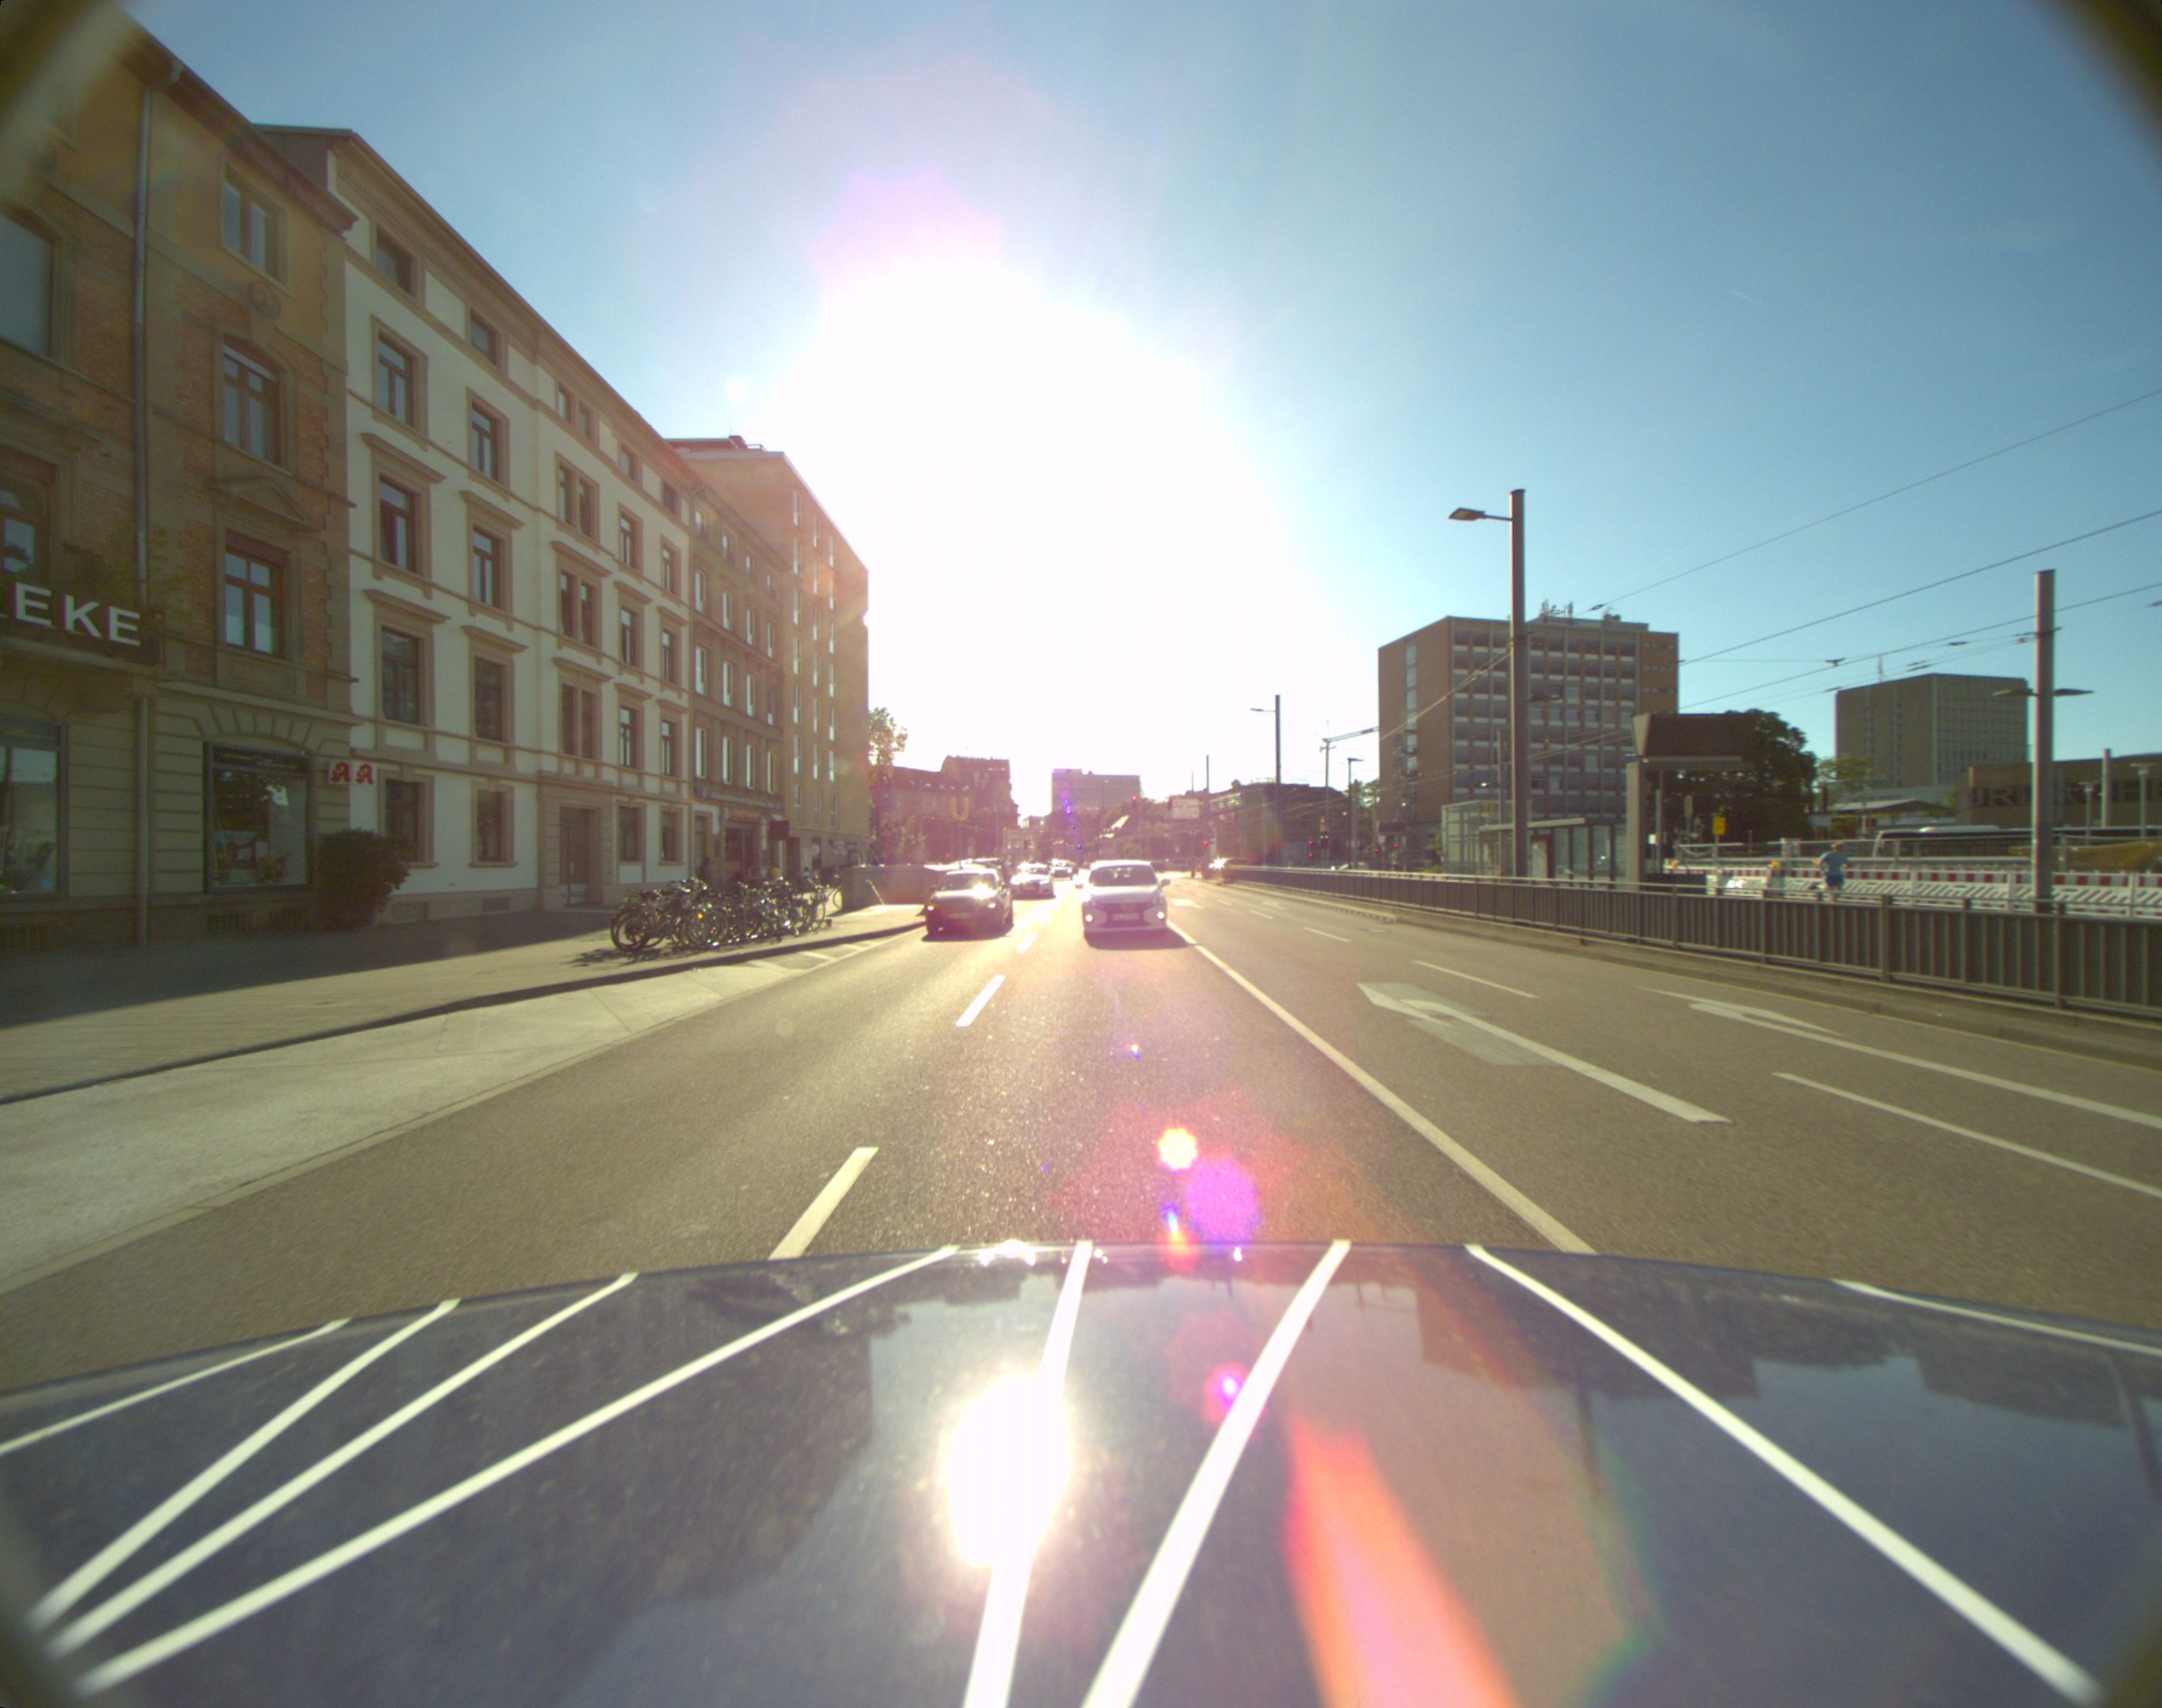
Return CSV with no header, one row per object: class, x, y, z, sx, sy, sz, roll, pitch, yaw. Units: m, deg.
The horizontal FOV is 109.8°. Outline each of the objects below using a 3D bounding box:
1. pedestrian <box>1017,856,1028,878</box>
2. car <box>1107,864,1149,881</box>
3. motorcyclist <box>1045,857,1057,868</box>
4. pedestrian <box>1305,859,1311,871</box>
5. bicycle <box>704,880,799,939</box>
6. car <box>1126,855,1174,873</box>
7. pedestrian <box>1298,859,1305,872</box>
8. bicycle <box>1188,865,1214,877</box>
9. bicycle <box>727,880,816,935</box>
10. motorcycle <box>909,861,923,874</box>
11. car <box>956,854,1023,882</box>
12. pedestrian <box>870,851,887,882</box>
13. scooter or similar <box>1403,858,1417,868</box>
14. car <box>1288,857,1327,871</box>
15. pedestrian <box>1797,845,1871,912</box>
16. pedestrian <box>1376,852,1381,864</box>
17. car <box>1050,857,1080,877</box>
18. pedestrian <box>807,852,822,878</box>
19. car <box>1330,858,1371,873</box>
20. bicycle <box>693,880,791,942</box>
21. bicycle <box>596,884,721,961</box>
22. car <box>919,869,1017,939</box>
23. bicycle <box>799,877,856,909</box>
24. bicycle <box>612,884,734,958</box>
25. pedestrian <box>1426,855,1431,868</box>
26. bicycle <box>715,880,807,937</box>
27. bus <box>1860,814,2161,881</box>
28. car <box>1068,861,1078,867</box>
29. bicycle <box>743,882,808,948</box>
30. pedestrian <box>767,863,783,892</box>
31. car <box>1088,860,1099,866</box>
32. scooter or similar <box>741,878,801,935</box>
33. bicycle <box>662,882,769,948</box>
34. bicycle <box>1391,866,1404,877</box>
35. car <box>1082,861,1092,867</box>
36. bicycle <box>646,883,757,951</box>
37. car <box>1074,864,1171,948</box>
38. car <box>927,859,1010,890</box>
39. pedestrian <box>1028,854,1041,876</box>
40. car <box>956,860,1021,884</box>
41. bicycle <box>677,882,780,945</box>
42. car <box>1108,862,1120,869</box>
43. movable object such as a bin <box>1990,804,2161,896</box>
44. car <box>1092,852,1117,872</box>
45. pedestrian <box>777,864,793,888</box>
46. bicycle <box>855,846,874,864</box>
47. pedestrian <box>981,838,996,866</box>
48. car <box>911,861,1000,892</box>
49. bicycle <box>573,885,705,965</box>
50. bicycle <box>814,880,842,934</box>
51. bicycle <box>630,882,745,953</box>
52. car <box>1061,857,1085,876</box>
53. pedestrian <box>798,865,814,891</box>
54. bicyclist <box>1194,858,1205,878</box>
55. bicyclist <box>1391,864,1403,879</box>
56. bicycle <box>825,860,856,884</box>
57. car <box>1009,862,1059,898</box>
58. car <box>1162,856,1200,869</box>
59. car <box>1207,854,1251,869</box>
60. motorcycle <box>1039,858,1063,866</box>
pedestrian,-4.565,1.003,59.181,0.698,1.717,0.752,0,0,-15
car,4.930,1.891,78.837,1.994,1.666,4.292,0,0,44
motorcyclist,-4.361,1.238,111.373,1.451,1.656,1.120,0,-3,22
pedestrian,31.675,1.534,106.186,0.732,1.729,0.622,0,2,12
bicycle,-6.871,1.152,15.877,1.769,1.180,0.470,-1,-1,1
car,8.522,1.271,94.377,5.763,2.001,2.000,1,-3,-2
pedestrian,30.790,1.569,106.038,0.620,1.729,0.667,1,2,43
bicycle,9.510,1.361,60.321,1.894,0.936,0.815,1,0,-4
bicycle,-6.864,1.180,16.878,1.769,1.171,0.470,-1,-1,1
motorcycle,-14.404,1.176,66.390,0.880,1.040,1.803,1,1,-1
car,-6.350,0.976,52.972,4.259,1.803,1.955,-1,0,-40
pedestrian,-12.286,0.741,46.082,0.754,1.855,0.830,0,0,-29
scooter or similar,45.390,1.279,104.850,0.801,1.239,1.705,2,-3,-27
car,29.350,1.336,98.435,4.697,1.673,2.004,0,-3,18
pedestrian,20.450,0.681,20.671,0.804,1.757,1.180,1,-2,1
pedestrian,38.747,0.508,98.869,0.503,1.625,0.428,0,-2,8
car,-1.185,0.950,58.648,1.782,1.455,3.917,0,0,7
pedestrian,-13.485,0.569,38.457,0.516,1.311,0.592,0,0,8
car,33.185,1.427,93.780,4.697,1.673,2.003,0,-3,16
bicycle,-6.842,1.143,15.376,1.769,1.180,0.470,-1,-1,1
bicycle,-6.847,1.102,12.347,1.769,1.180,0.470,-1,-1,1
car,-2.586,1.116,18.220,1.694,1.380,3.832,-2,0,1
bicycle,-8.674,1.346,26.040,1.773,1.083,0.469,2,-2,-28
bicycle,-6.876,1.123,12.850,1.796,1.180,0.470,-1,-1,1
pedestrian,47.074,0.991,102.946,0.623,1.700,0.487,-1,-3,35
bicycle,-6.875,1.156,16.376,1.769,1.171,0.470,-1,-1,1
bus,50.850,-0.192,40.687,12.626,3.173,2.849,-2,-4,44
car,-2.235,2.674,209.205,1.757,1.455,4.016,-1,-2,-12
bicycle,-5.762,1.123,14.407,0.470,1.140,1.771,-1,-1,1
pedestrian,-14.061,1.069,34.948,0.516,1.311,0.591,-1,0,-6
car,2.933,2.193,184.486,1.757,1.455,4.016,-1,-2,-12
scooter or similar,-7.202,1.194,17.653,1.210,1.209,0.641,-2,1,-26
bicycle,-6.890,1.143,14.350,1.769,1.180,0.470,-1,-1,1
bicycle,27.793,1.533,66.801,0.814,0.936,2.004,-1,1,16
car,1.561,2.445,190.204,1.757,1.455,4.016,-1,-2,-12
bicycle,-6.897,1.131,13.847,1.769,1.180,0.470,-1,-1,1
car,0.874,1.014,15.851,1.720,1.483,3.873,-2,-2,3
car,-6.320,1.131,42.912,4.260,1.561,1.955,-1,0,-43
pedestrian,-3.830,0.902,62.437,0.796,1.717,0.868,0,0,-31
car,-6.027,1.183,49.923,3.900,1.391,1.784,-3,1,-43
bicycle,-6.887,1.152,14.870,1.769,1.180,0.470,-1,-1,1
car,7.178,2.480,165.931,1.757,1.455,4.016,-1,-2,-12
movable object such as a bin,30.753,-0.055,21.903,2.637,2.509,5.164,1,-3,-17
car,2.063,0.715,65.998,1.998,1.666,4.285,0,0,5
pedestrian,-14.699,1.081,37.741,0.516,1.153,0.592,0,0,8
bicycle,-14.634,0.065,51.340,0.659,1.241,2.298,1,0,-1
pedestrian,-6.227,-0.123,51.050,0.755,1.855,0.696,0,0,-41
car,-6.451,1.132,39.250,4.121,1.455,1.956,0,0,-40
bicycle,-6.872,1.097,11.852,1.769,1.180,0.470,-1,-1,1
bicycle,-5.719,1.163,17.121,0.470,1.140,1.768,-1,-1,-22
bicycle,-6.888,1.105,13.341,1.769,1.180,0.470,-1,-1,1
car,-0.728,1.255,75.537,1.998,1.673,4.004,0,-3,5
pedestrian,-13.675,1.190,37.767,0.516,1.311,0.592,0,0,8
bicyclist,9.410,1.093,60.315,0.676,1.607,0.815,1,1,-4
bicyclist,27.788,1.532,66.799,0.814,1.337,0.903,-1,2,16
bicycle,-14.205,1.071,44.899,0.932,1.348,2.231,1,-3,4
car,-2.023,1.096,33.851,1.825,1.380,4.457,-1,0,1
car,13.292,1.109,100.747,4.696,1.673,2.004,0,-3,20
car,17.221,0.871,88.658,4.617,1.678,1.999,0,0,-7
motorcycle,-4.421,1.147,111.407,3.225,1.187,1.120,0,-3,22
